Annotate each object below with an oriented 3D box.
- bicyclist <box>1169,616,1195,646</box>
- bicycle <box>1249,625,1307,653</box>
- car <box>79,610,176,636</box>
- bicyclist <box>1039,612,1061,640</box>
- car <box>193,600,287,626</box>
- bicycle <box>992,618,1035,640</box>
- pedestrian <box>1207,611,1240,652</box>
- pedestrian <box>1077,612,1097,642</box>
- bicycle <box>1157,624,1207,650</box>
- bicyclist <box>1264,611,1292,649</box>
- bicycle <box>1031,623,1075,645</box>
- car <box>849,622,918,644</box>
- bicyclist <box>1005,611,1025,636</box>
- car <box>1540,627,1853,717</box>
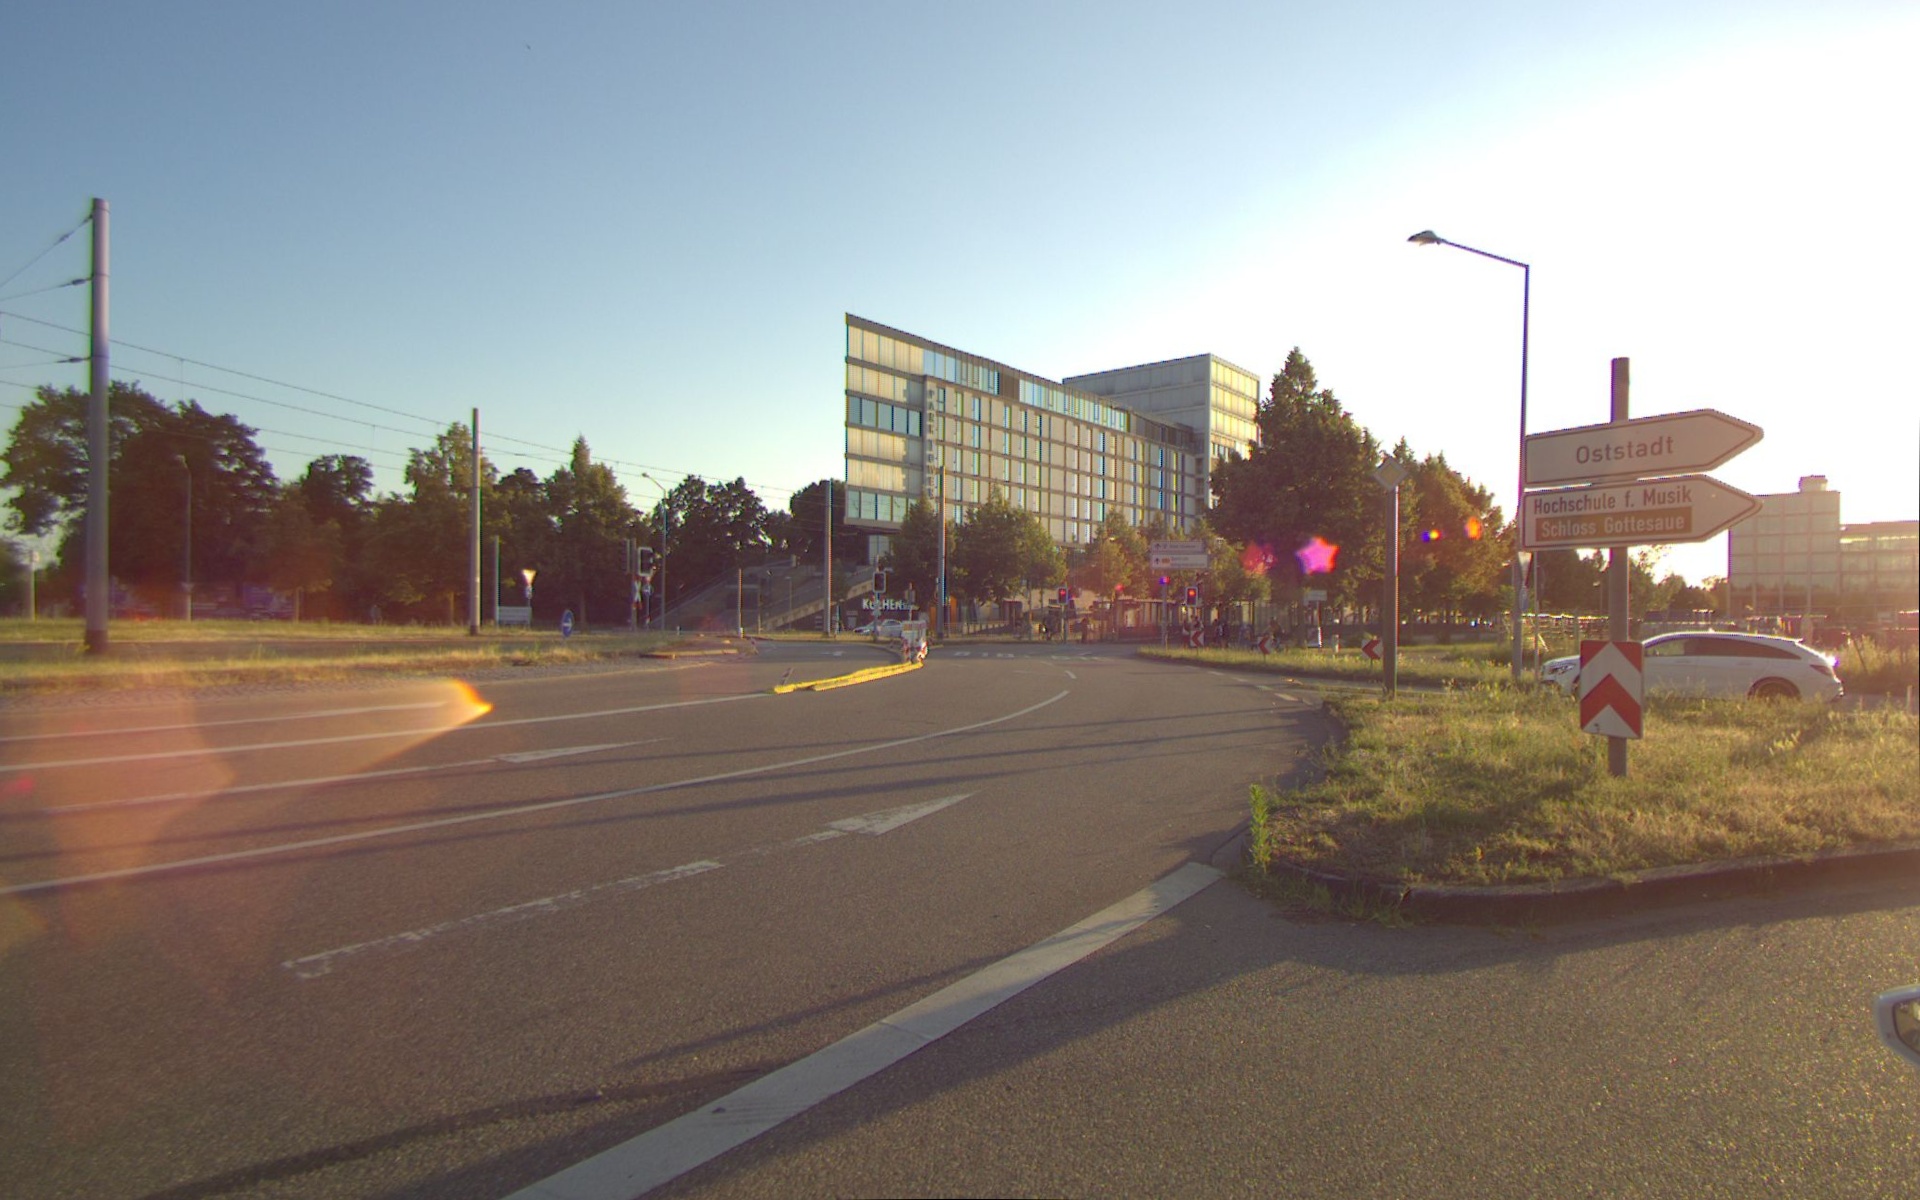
[{"bbox_3d":[10.592,1.479,47.950,0.749,1.412,0.967,1,-1,-41],"label":"bicyclist"},{"bbox_3d":[14.195,1.727,44.866,2.373,1.182,0.751,0,-1,41],"label":"bicycle"},{"bbox_3d":[-48.325,1.321,58.326,4.502,1.451,1.946,0,-1,12],"label":"car"},{"bbox_3d":[5.016,1.450,55.867,0.960,1.545,0.753,0,-1,28],"label":"bicyclist"},{"bbox_3d":[-40.824,0.761,56.983,4.232,1.451,1.946,0,-1,11],"label":"car"},{"bbox_3d":[3.006,1.651,57.021,2.367,1.182,0.753,0,-1,32],"label":"bicycle"},{"bbox_3d":[12.096,1.435,46.119,0.967,1.851,1.153,1,-1,-28],"label":"pedestrian"},{"bbox_3d":[7.341,1.567,57.949,0.873,1.730,0.792,0,-1,34],"label":"pedestrian"},{"bbox_3d":[10.598,1.771,47.970,0.749,1.182,2.380,1,-1,-41],"label":"bicycle"},{"bbox_3d":[14.188,1.330,44.847,0.963,1.634,0.751,0,-1,40],"label":"bicyclist"},{"bbox_3d":[5.159,1.895,55.756,2.365,1.182,0.753,0,-1,28],"label":"bicycle"},{"bbox_3d":[-5.613,2.398,73.989,1.971,1.565,5.176,0,-1,41],"label":"car"},{"bbox_3d":[3.134,1.332,56.966,0.864,1.411,0.753,0,-1,31],"label":"bicyclist"},{"bbox_3d":[13.677,1.274,19.072,4.575,1.472,2.071,0,-1,31],"label":"car"}]
